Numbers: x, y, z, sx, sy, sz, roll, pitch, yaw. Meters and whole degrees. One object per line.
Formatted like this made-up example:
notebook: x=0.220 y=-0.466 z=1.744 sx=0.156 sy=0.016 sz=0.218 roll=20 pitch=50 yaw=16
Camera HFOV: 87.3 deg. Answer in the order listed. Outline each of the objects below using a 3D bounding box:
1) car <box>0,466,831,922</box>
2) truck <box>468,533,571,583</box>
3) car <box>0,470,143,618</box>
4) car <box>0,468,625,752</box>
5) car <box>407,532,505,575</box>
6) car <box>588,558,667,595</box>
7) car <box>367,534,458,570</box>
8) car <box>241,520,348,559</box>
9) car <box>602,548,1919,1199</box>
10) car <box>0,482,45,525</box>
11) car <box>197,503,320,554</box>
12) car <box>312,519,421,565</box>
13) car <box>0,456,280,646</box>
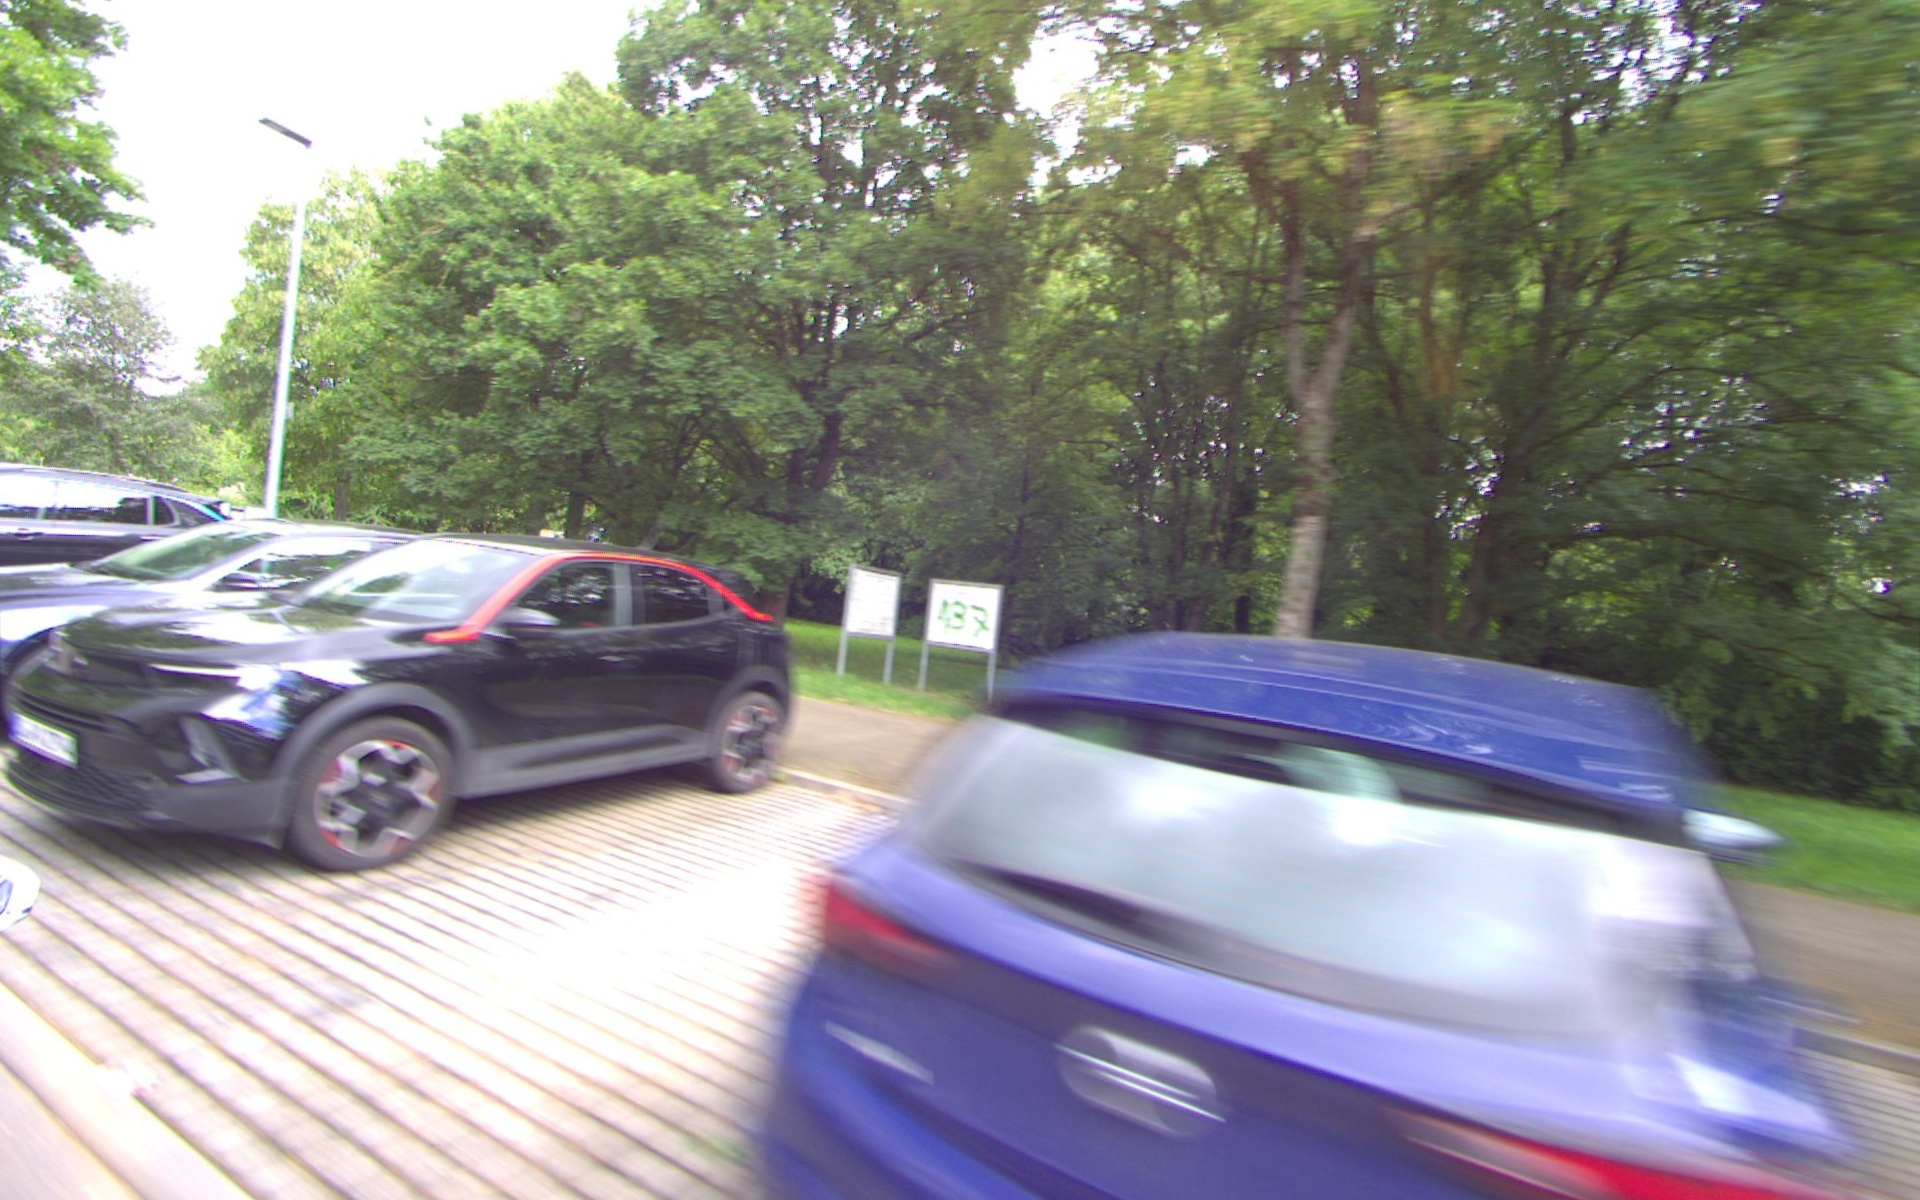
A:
car: x=-2.712 y=0.349 z=5.703 sx=1.819 sy=1.536 sz=4.079 roll=7 pitch=1 yaw=27
truck: x=-28.112 y=-2.654 z=64.388 sx=2.160 sy=2.455 sz=5.505 roll=6 pitch=-1 yaw=37
car: x=-11.634 y=-0.758 z=11.281 sx=1.766 sy=1.595 sz=3.381 roll=8 pitch=1 yaw=31
car: x=-5.061 y=0.048 z=7.398 sx=1.950 sy=1.537 sz=4.638 roll=8 pitch=1 yaw=33
car: x=-33.470 y=-3.050 z=67.007 sx=2.105 sy=2.081 sz=5.318 roll=7 pitch=-1 yaw=37
car: x=-25.323 y=-1.752 z=76.726 sx=2.105 sy=2.081 sz=5.318 roll=7 pitch=-1 yaw=37
car: x=-32.141 y=-2.800 z=59.168 sx=1.678 sy=1.544 sz=4.281 roll=6 pitch=-1 yaw=38
car: x=-35.875 y=-3.270 z=54.333 sx=1.678 sy=1.445 sz=4.427 roll=6 pitch=-1 yaw=38
car: x=1.238 y=0.835 z=3.002 sx=1.821 sy=1.475 sz=4.075 roll=7 pitch=1 yaw=32
car: x=-43.407 y=-4.475 z=44.691 sx=1.741 sy=1.689 sz=3.777 roll=7 pitch=0 yaw=38
car: x=-40.292 y=-4.072 z=57.919 sx=2.105 sy=2.081 sz=5.318 roll=7 pitch=-1 yaw=37
car: x=-36.780 y=-3.556 z=62.510 sx=2.105 sy=2.081 sz=5.318 roll=7 pitch=-1 yaw=37
car: x=-9.545 y=-0.556 z=9.707 sx=2.047 sy=1.697 sz=4.419 roll=8 pitch=1 yaw=31
